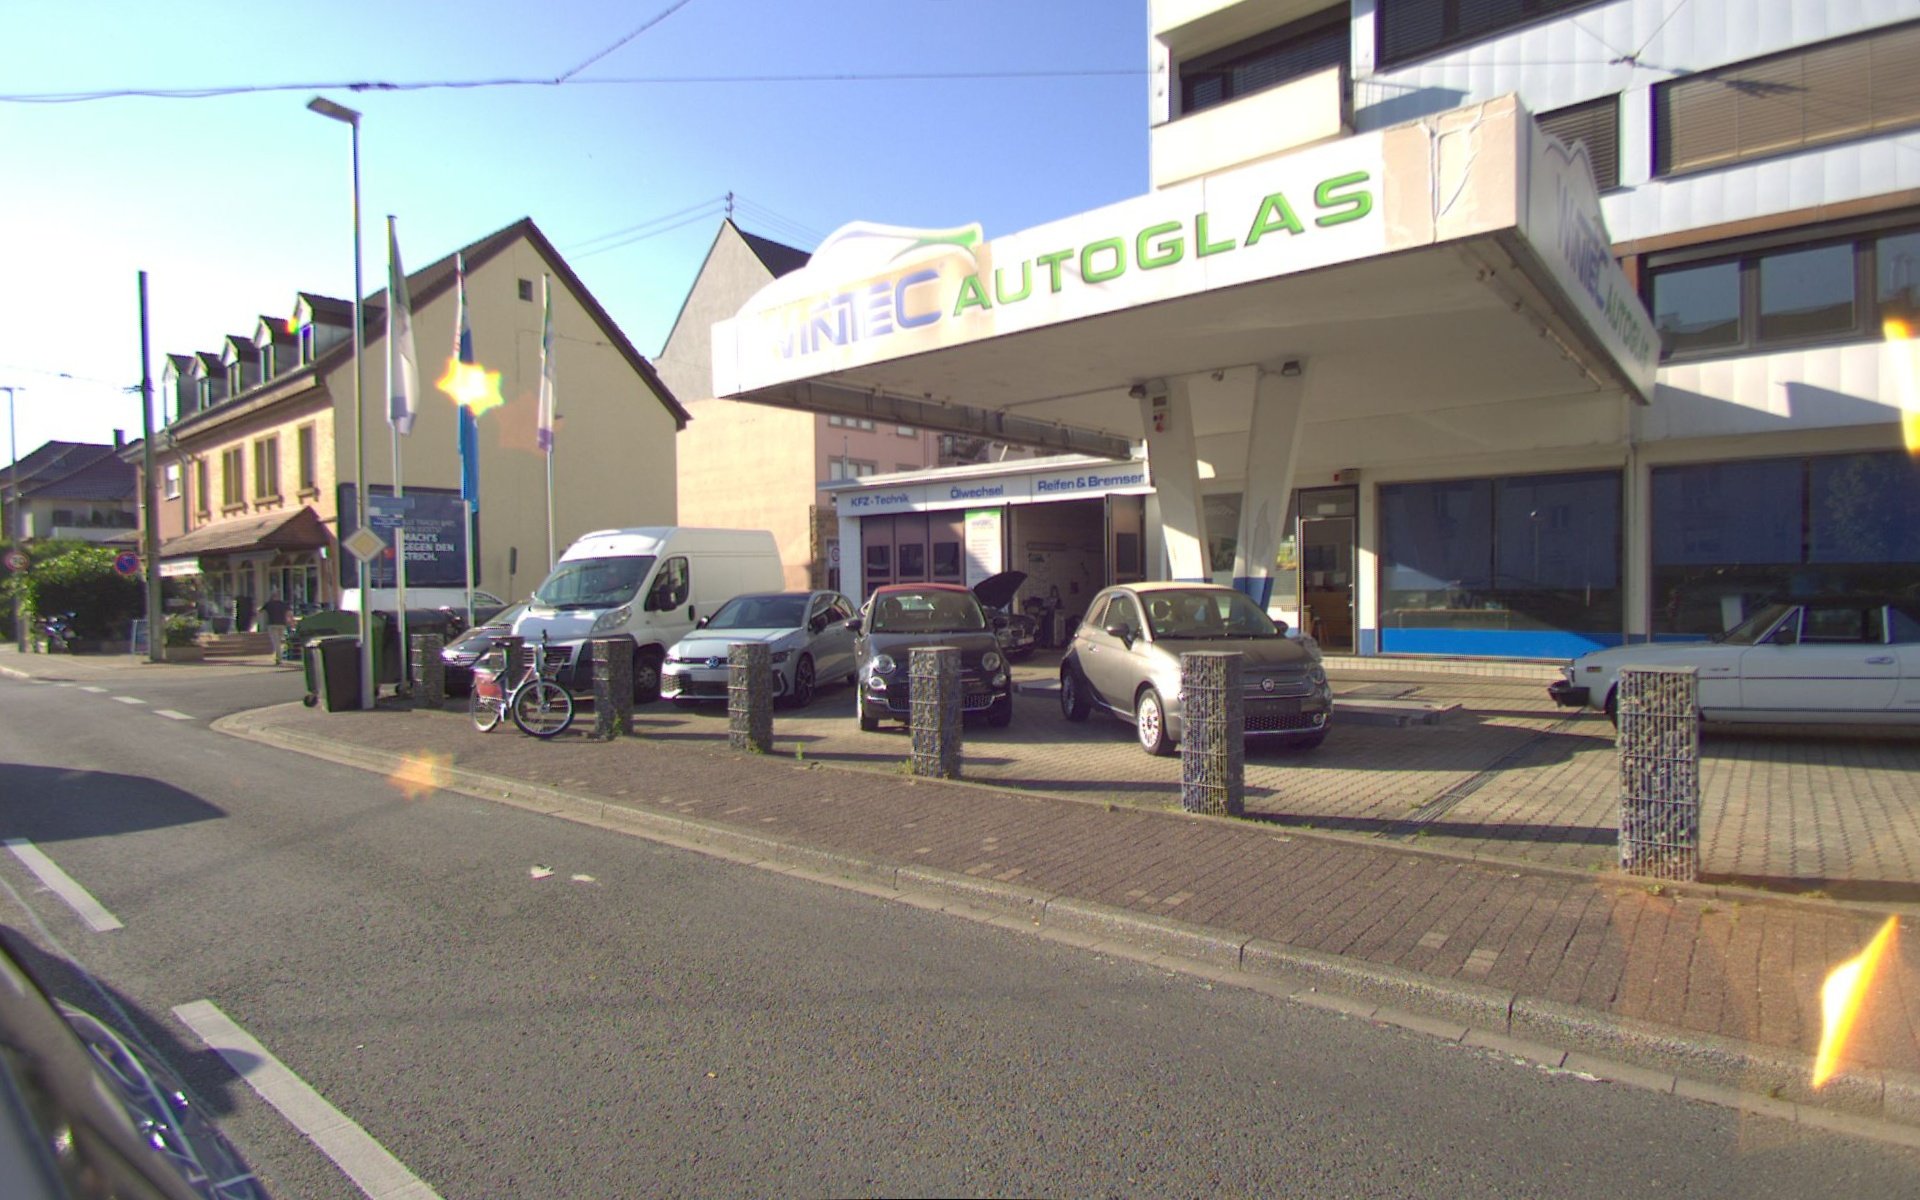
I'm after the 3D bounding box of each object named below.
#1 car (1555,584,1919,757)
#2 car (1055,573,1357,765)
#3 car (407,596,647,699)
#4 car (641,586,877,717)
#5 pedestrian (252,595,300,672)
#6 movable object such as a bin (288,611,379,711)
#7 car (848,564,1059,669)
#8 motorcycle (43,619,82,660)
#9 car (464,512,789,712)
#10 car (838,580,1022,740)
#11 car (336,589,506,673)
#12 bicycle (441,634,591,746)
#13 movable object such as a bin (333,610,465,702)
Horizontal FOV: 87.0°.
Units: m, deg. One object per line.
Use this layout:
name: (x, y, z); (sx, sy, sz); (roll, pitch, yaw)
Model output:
car: (7.385, 0.544, 8.568); (3.898, 1.308, 1.506); (-1, -1, 37)
car: (2.153, 0.537, 9.791); (1.517, 1.497, 3.381); (-1, 0, -11)
car: (-7.063, 0.706, 17.005); (1.725, 1.488, 4.016); (-1, 0, 12)
car: (-2.532, 0.590, 13.802); (1.725, 1.508, 4.016); (-1, 0, 12)
pedestrian: (-17.085, 0.824, 25.286); (0.766, 1.866, 0.812); (-1, 0, 40)
movable object such as a bin: (-9.706, 0.919, 15.711); (1.030, 1.475, 0.798); (-1, 0, -18)
car: (-0.207, 0.323, 20.917); (4.255, 1.958, 1.720); (-1, 0, 40)
motorcycle: (-27.968, 1.207, 31.525); (2.186, 1.226, 0.699); (-1, 0, 43)
car: (-4.688, 0.134, 15.220); (2.098, 2.472, 4.963); (-1, 0, 18)
car: (-0.483, 0.566, 11.506); (1.569, 1.508, 3.443); (-1, 0, -10)
car: (-13.894, 0.742, 26.249); (1.449, 2.029, 3.628); (-1, 0, 37)
bicycle: (-4.896, 0.943, 11.119); (1.789, 1.094, 0.716); (-1, 1, 37)
movable object such as a bin: (-9.577, 0.917, 17.366); (1.039, 1.475, 1.787); (-1, 0, 15)
